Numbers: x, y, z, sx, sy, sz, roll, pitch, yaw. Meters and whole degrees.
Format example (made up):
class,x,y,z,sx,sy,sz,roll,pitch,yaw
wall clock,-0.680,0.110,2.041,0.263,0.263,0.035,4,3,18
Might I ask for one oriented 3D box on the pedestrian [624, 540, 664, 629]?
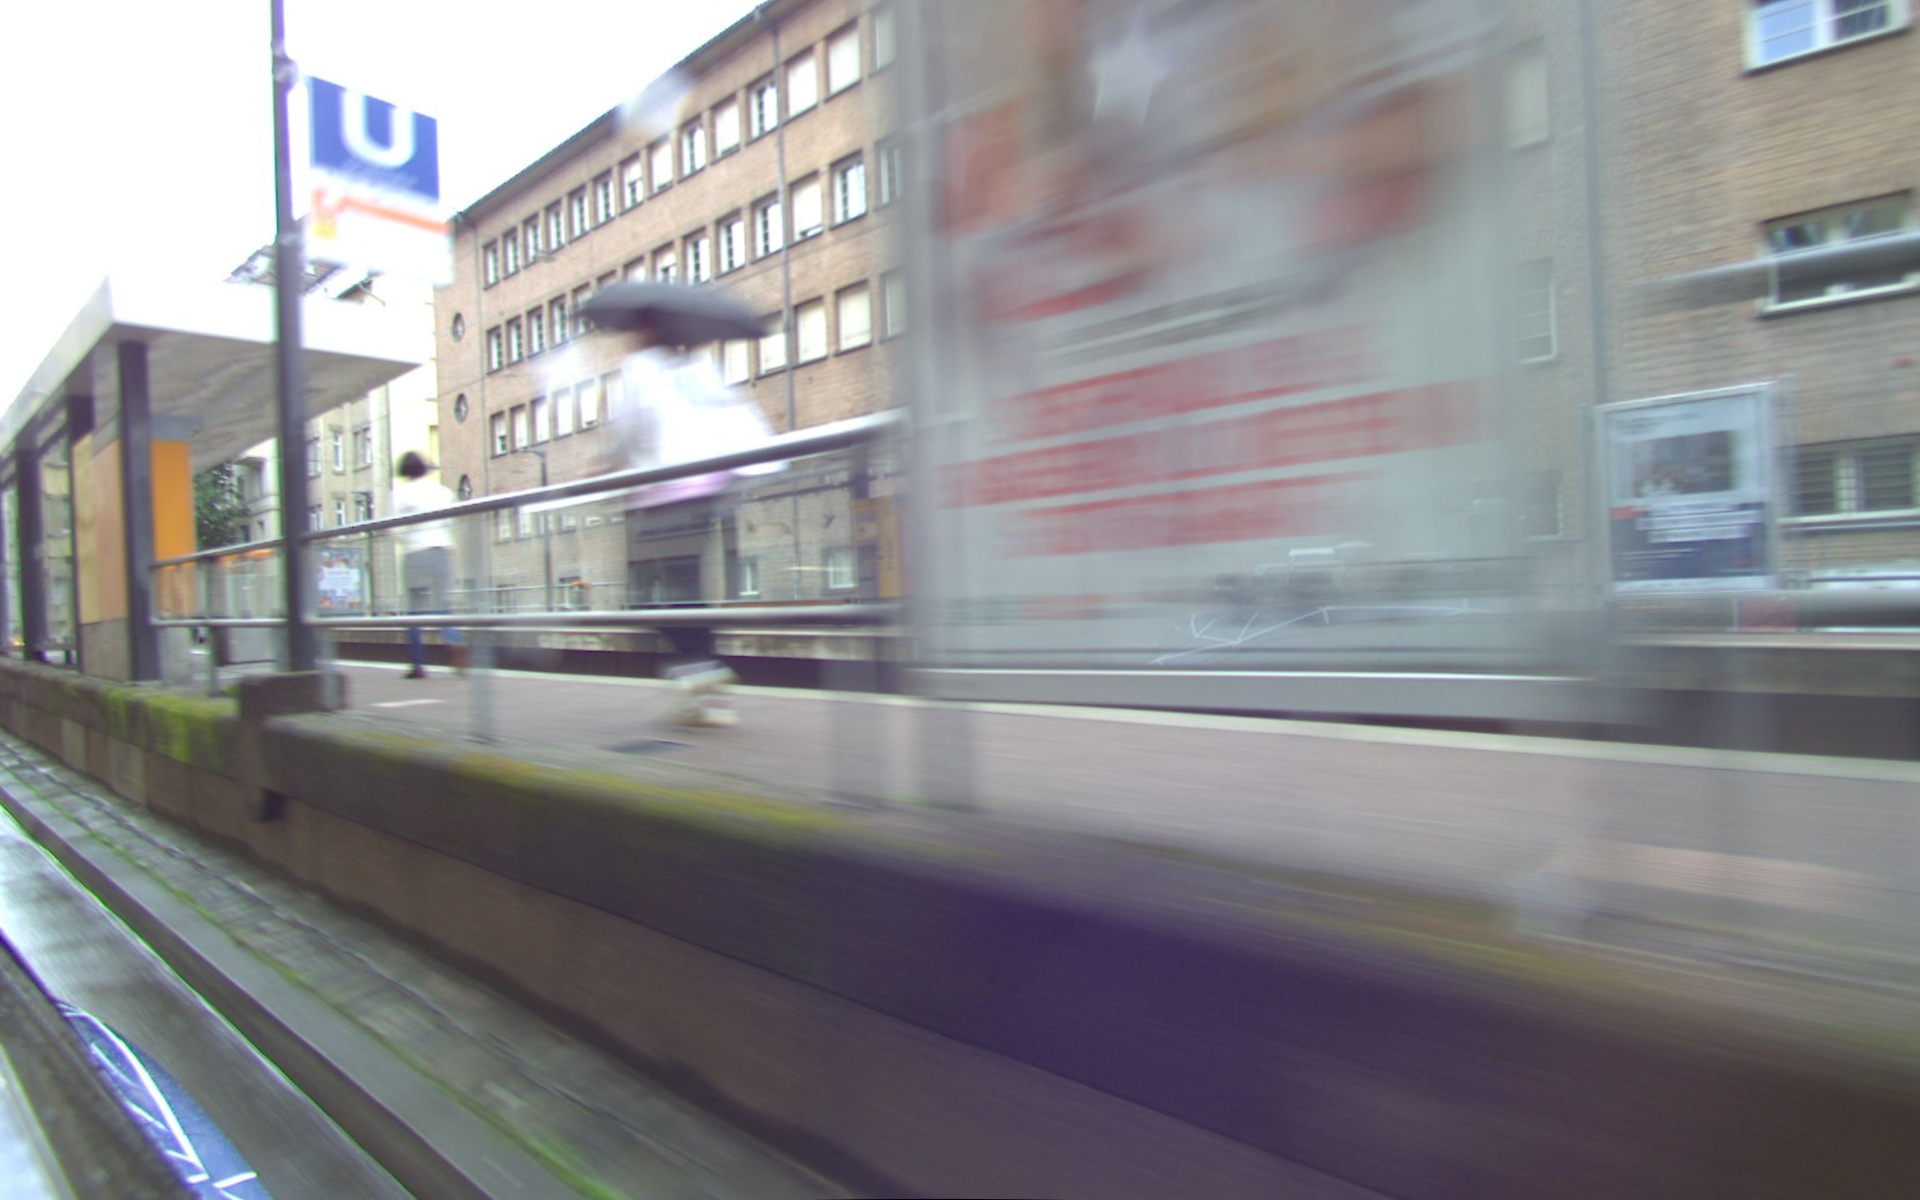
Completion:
class,x,y,z,sx,sy,sz,roll,pitch,yaw
pedestrian,-6.227,-0.293,19.952,0.491,1.722,0.581,-2,-2,40

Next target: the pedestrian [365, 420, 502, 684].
class,x,y,z,sx,sy,sz,roll,pitch,yaw
pedestrian,-3.811,-0.327,7.327,0.710,1.788,0.637,-1,0,41

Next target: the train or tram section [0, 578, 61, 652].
class,x,y,z,sx,sy,sz,roll,pitch,yaw
train or tram section,-58.465,0.929,61.821,19.851,3.950,2.687,-1,0,41

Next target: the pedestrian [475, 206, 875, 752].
class,x,y,z,sx,sy,sz,roll,pitch,yaw
pedestrian,-1.144,-0.399,4.099,1.111,1.788,1.102,-1,0,41

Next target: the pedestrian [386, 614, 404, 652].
class,x,y,z,sx,sy,sz,roll,pitch,yaw
pedestrian,-24.950,1.464,44.693,0.542,1.666,0.542,-1,-1,42

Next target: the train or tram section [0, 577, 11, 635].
class,x,y,z,sx,sy,sz,roll,pitch,yaw
train or tram section,-73.028,0.532,74.462,19.287,3.950,2.687,-1,0,41

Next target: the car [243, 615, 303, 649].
class,x,y,z,sx,sy,sz,roll,pitch,yaw
car,-31.525,1.440,46.424,3.111,1.477,1.627,-1,0,43
